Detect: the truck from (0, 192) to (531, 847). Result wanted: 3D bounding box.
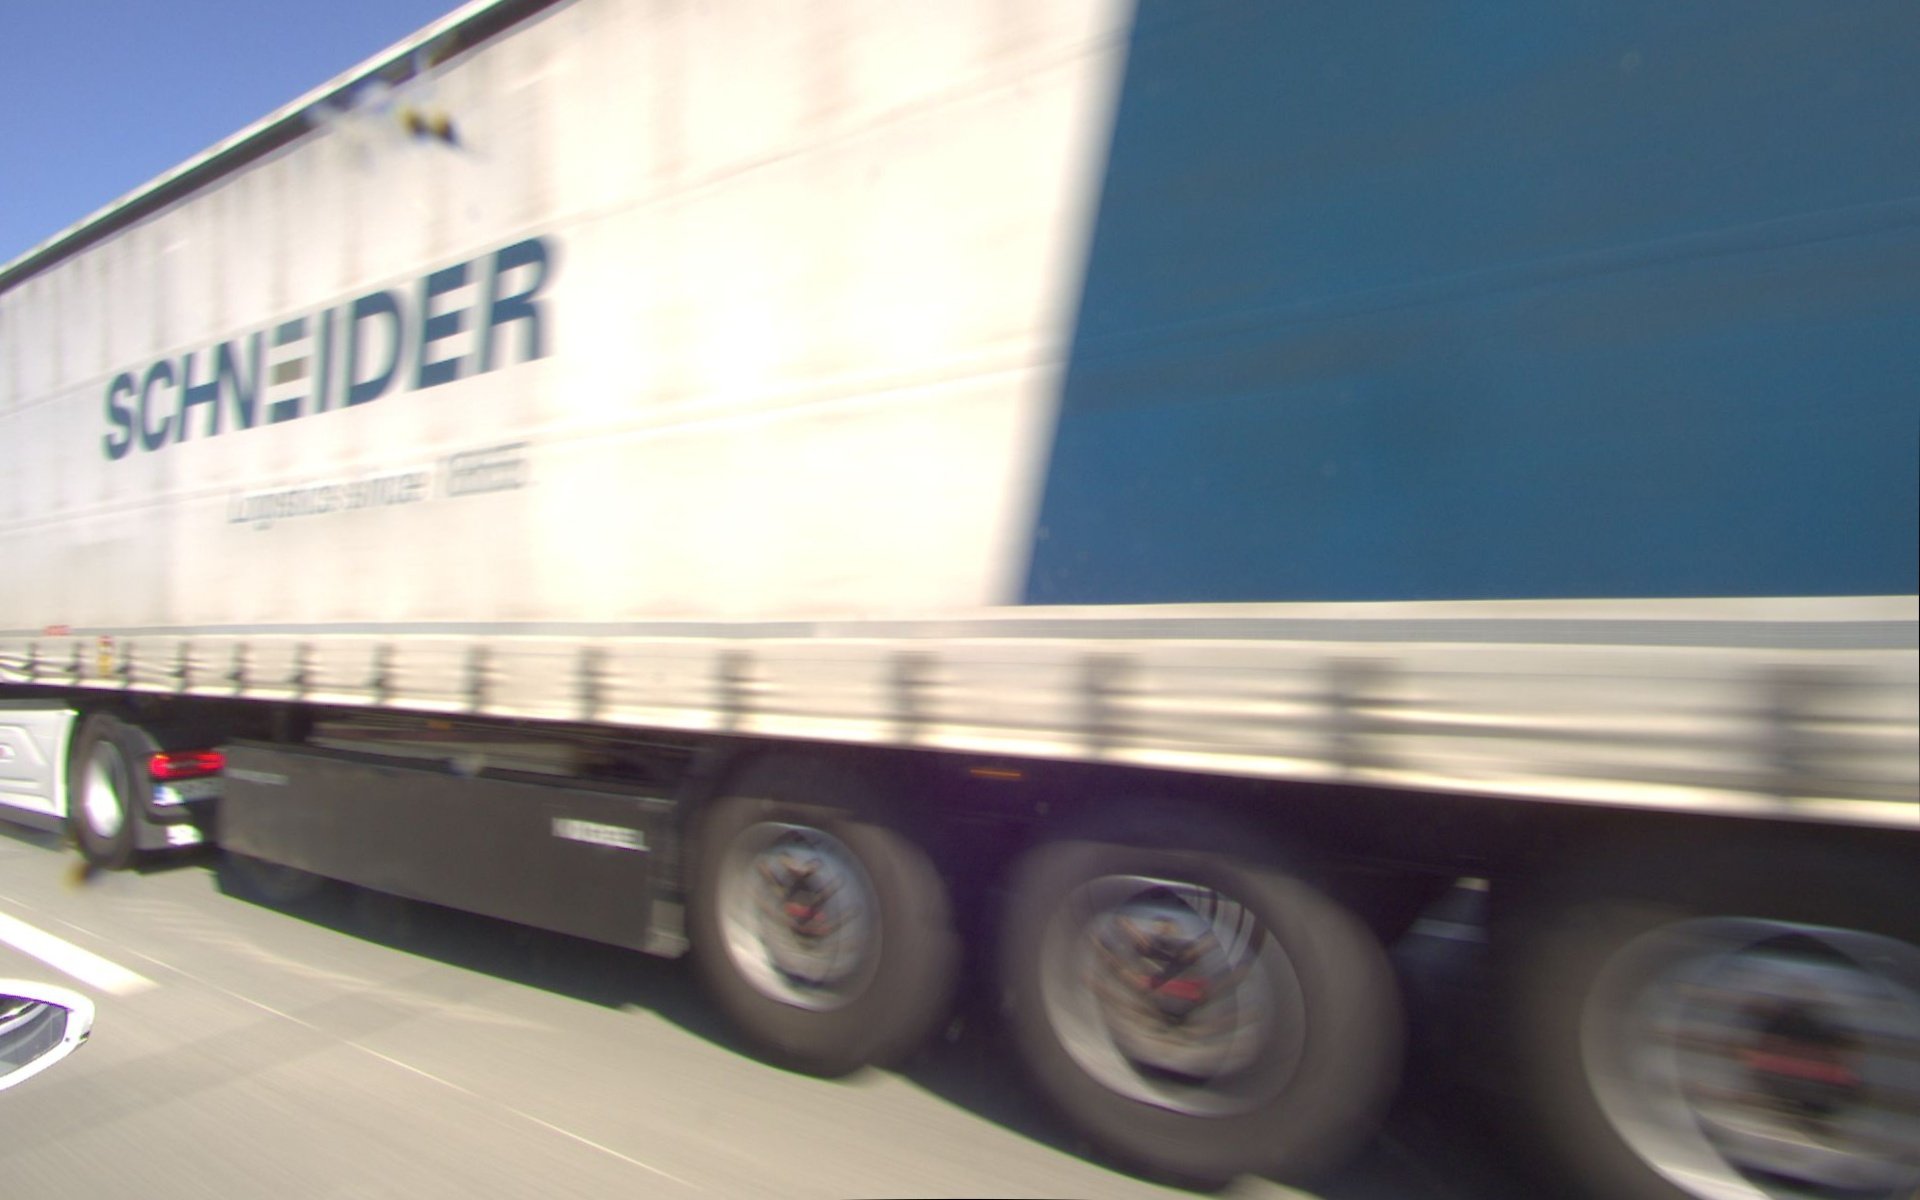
[{"bbox_3d":[-7.176,-0.427,9.149,6.100,4.066,3.077,-1,-1,32],"label":"truck"}]

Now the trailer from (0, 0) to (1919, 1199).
[{"bbox_3d":[-0.925,-0.595,5.161,15.241,4.349,3.170,-1,-1,33],"label":"trailer"}]
